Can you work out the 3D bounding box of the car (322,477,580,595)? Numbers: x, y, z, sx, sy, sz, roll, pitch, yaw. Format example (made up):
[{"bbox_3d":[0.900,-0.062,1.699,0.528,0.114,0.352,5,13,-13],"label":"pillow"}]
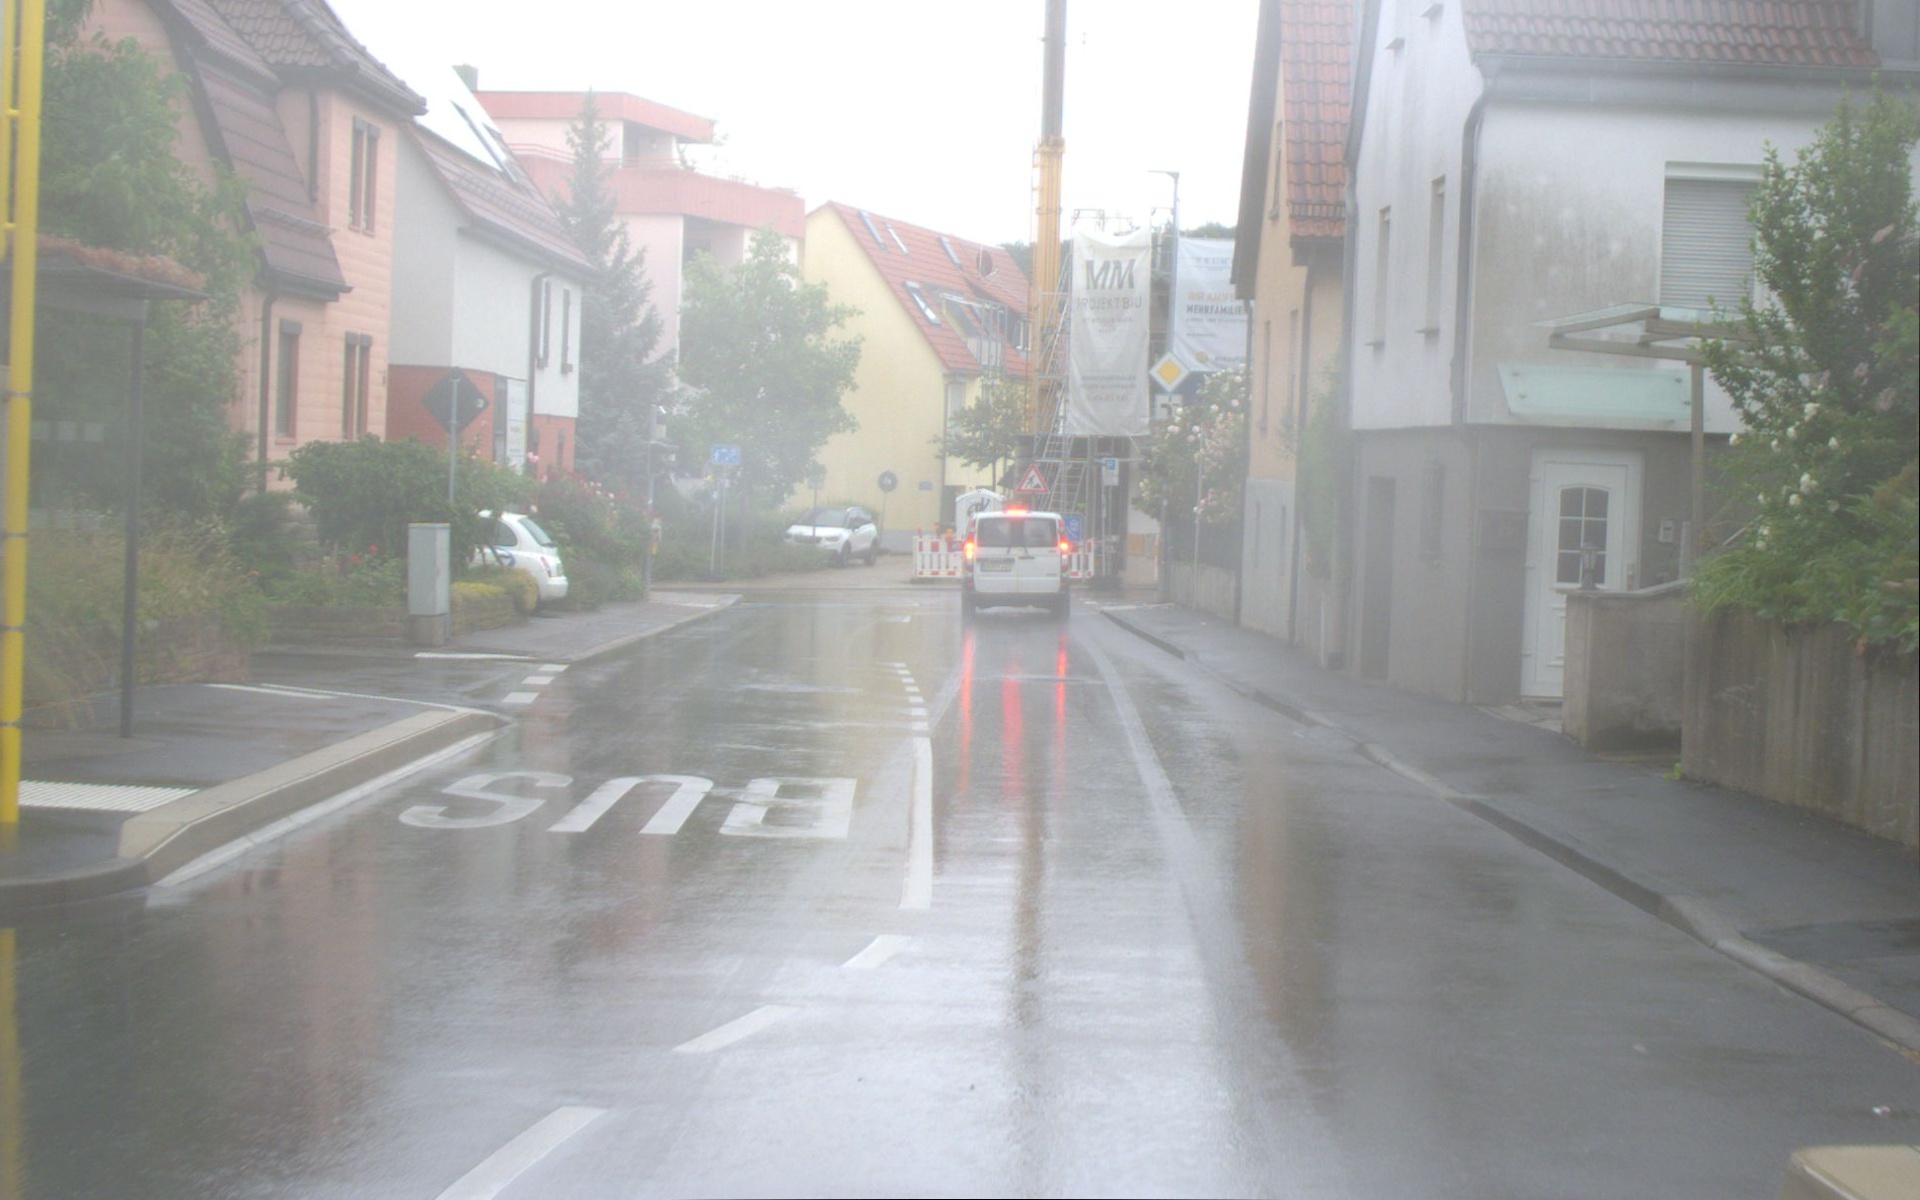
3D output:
[{"bbox_3d":[-7.684,-0.977,52.107,3.545,1.524,1.663,4,2,1],"label":"car"}]

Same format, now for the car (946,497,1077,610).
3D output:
[{"bbox_3d":[0.870,-0.821,60.388,2.181,1.863,4.000,2,1,0],"label":"car"}]

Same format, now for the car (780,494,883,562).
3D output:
[{"bbox_3d":[-3.449,-1.973,92.815,1.601,1.672,3.936,3,3,15],"label":"car"}]
